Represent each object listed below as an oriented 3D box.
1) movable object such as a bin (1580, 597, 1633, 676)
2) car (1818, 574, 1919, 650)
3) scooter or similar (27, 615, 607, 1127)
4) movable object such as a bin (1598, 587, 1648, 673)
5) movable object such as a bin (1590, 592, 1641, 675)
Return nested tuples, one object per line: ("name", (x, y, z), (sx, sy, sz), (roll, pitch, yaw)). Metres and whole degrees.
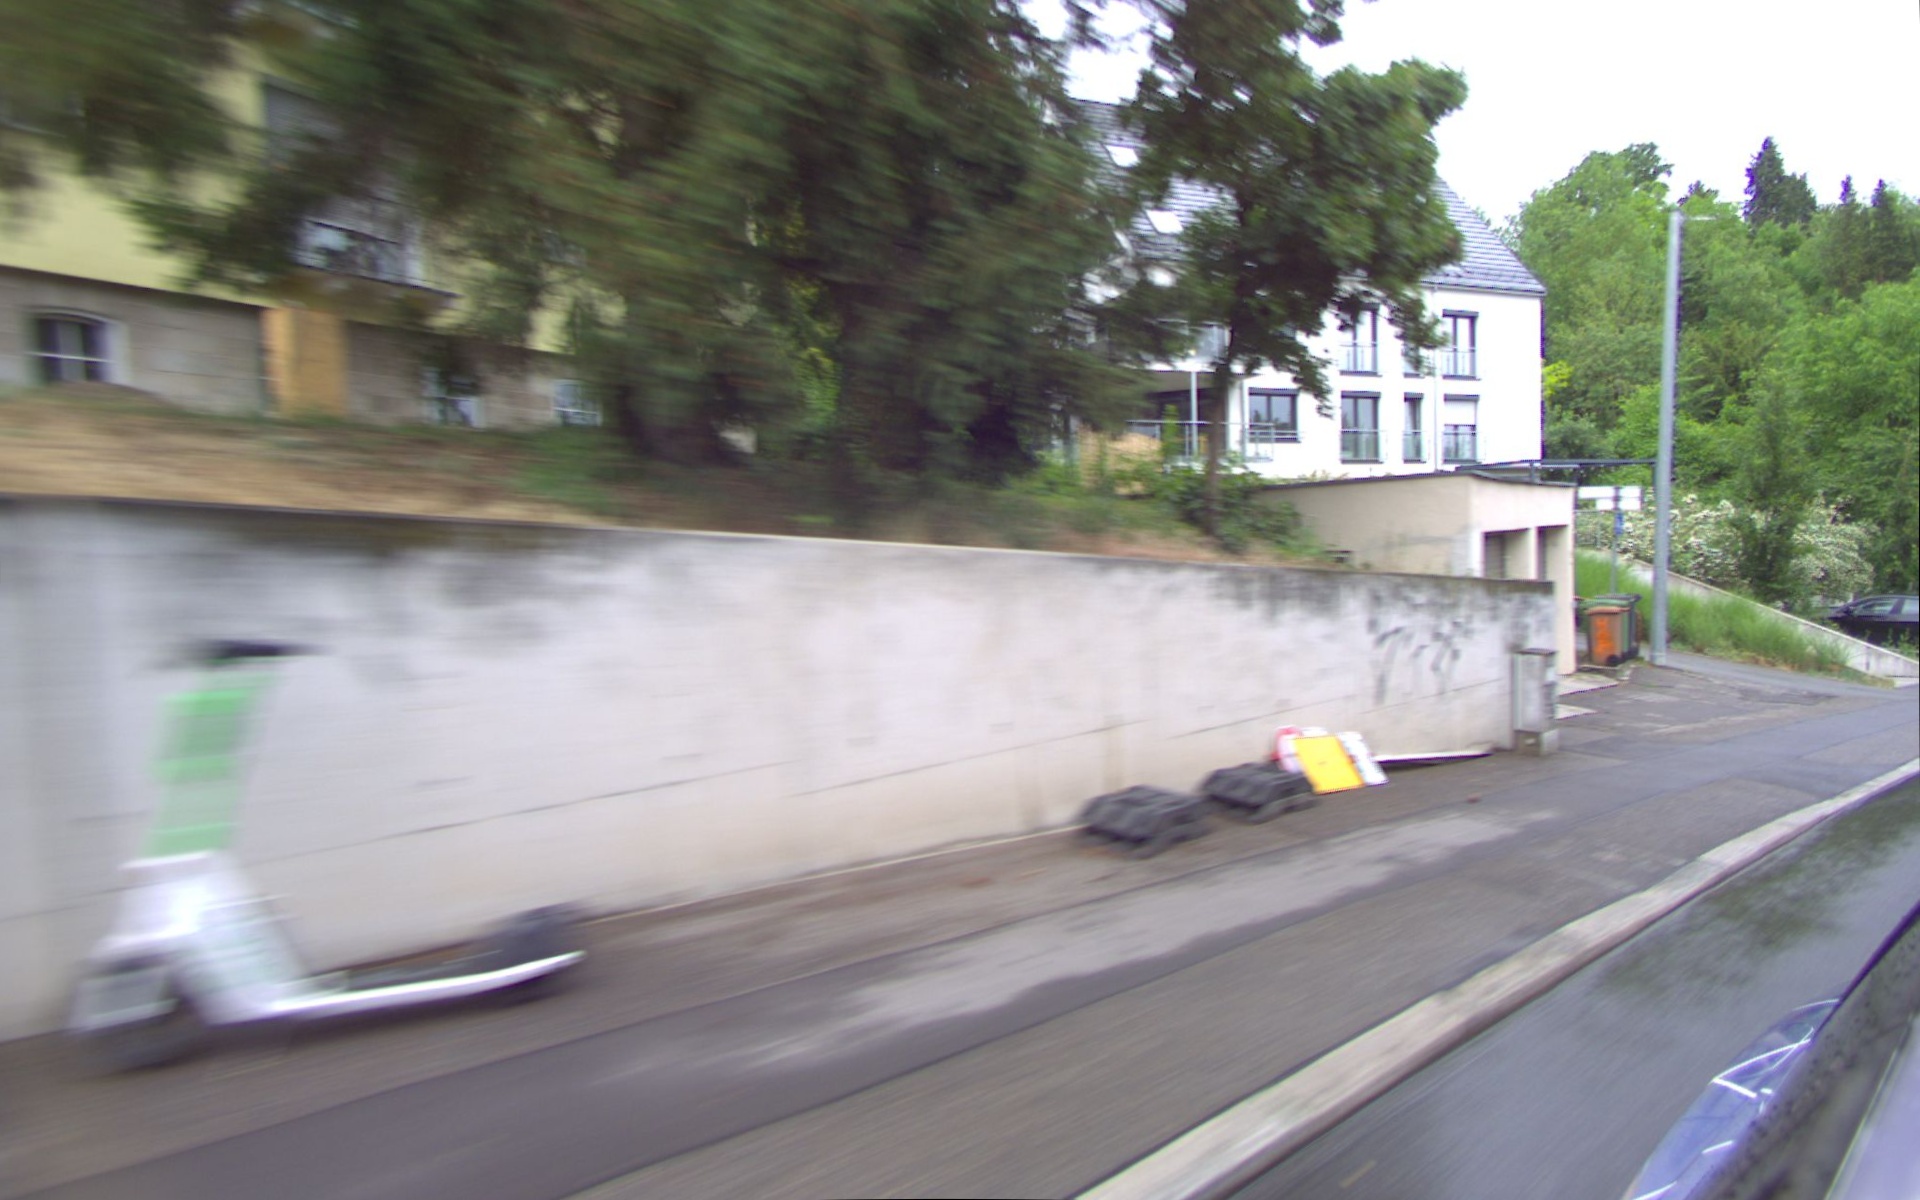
("movable object such as a bin", (10.167, 0.563, 15.921), (0.436, 1.190, 0.574), (0, 2, -44))
("car", (22.790, 0.320, 23.918), (1.549, 1.651, 3.473), (0, 5, -34))
("scooter or similar", (-1.837, 0.641, 3.013), (1.346, 1.146, 0.599), (0, 2, -41))
("movable object such as a bin", (10.887, 0.480, 16.613), (0.456, 1.367, 0.554), (0, 2, -44))
("movable object such as a bin", (10.534, 0.523, 16.263), (0.446, 1.283, 0.563), (0, 2, -44))
